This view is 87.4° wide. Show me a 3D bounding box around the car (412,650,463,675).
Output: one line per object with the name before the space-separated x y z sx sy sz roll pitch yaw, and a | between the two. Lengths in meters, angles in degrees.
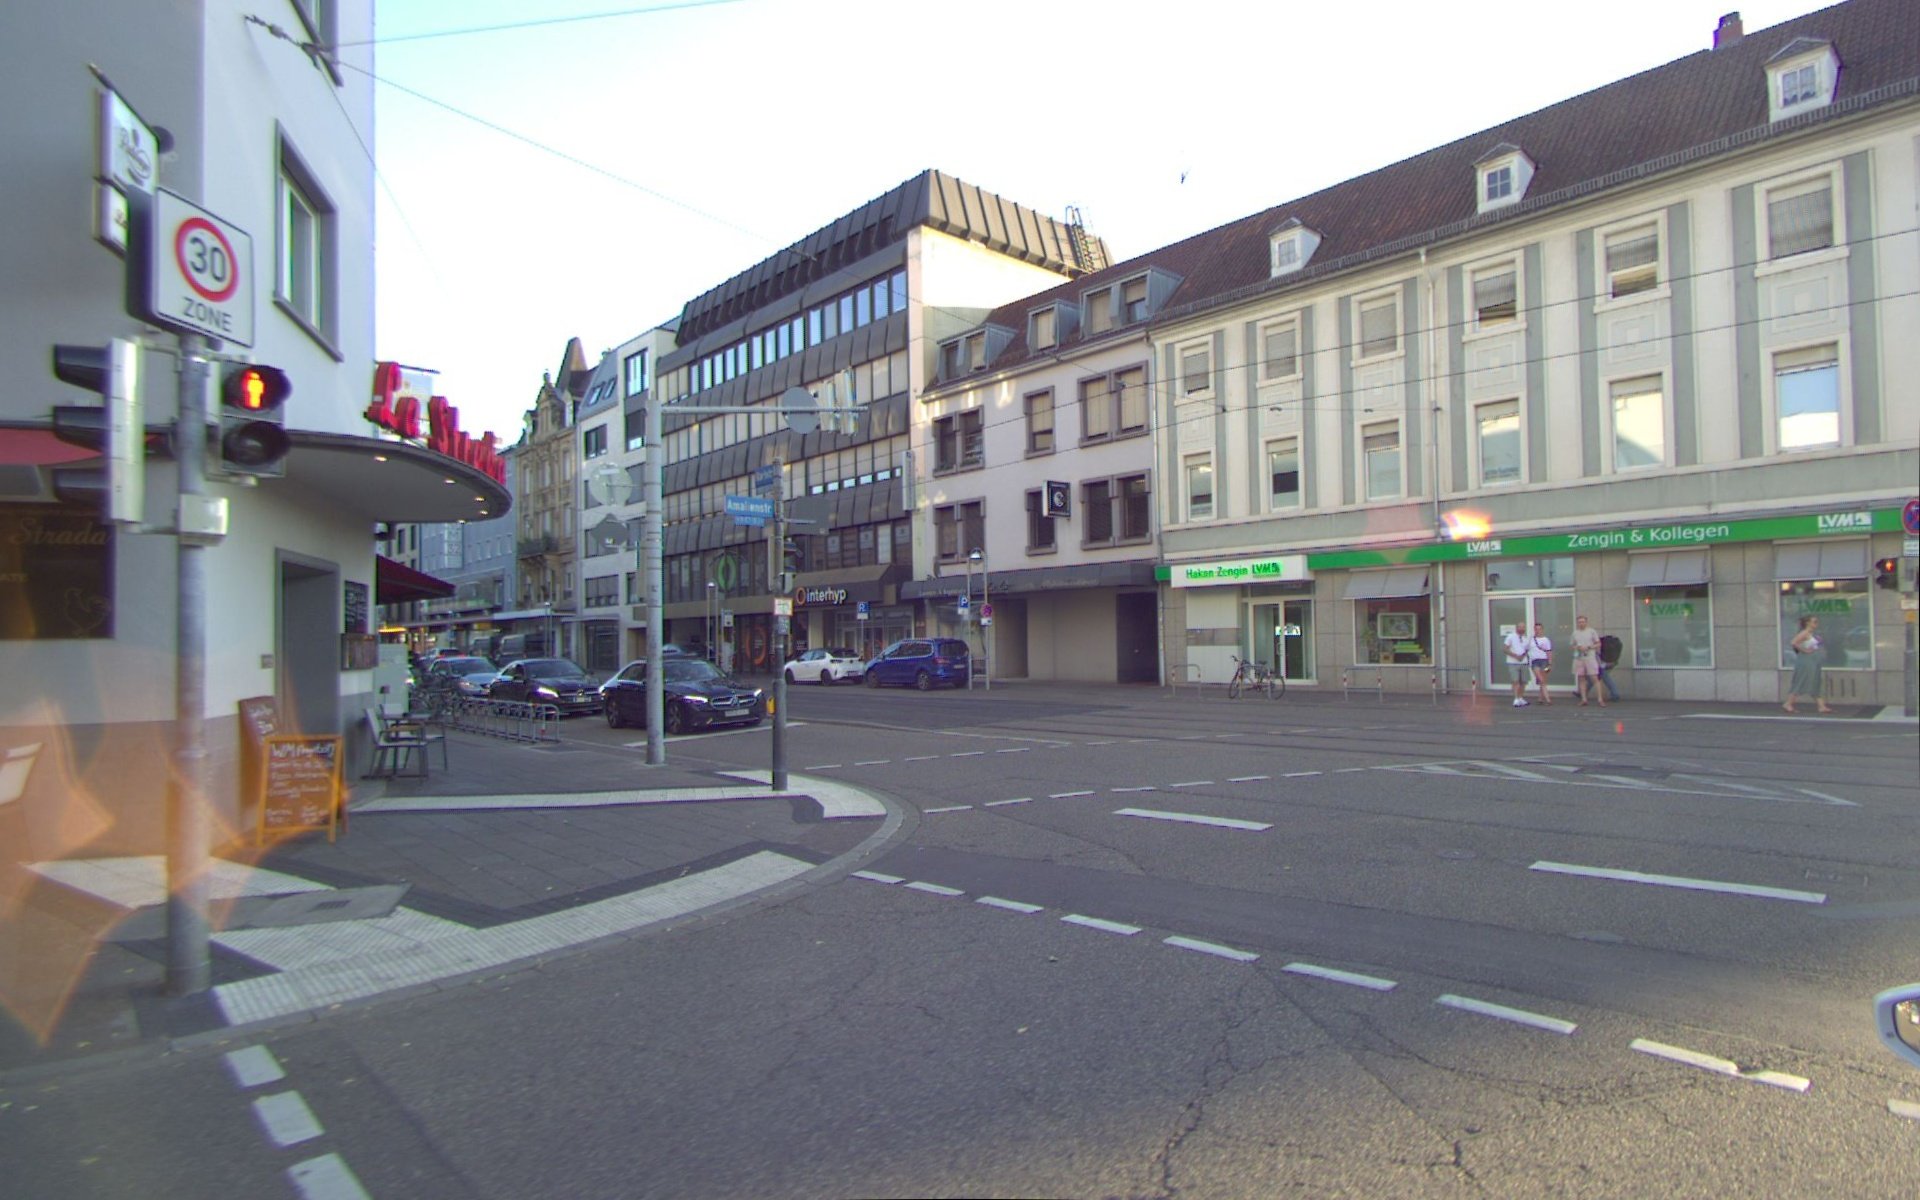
car | -34.484 4.075 66.191 1.936 1.565 4.490 2 -4 -42

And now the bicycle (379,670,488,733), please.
bicycle | -10.888 2.088 20.817 1.849 1.242 0.600 5 -6 -43

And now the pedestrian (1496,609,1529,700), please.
pedestrian | 12.079 1.194 21.955 0.488 1.954 0.574 -3 -2 36

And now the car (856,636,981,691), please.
car | -1.517 2.210 35.351 1.906 1.739 4.508 -2 -1 -42

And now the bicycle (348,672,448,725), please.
bicycle | -12.797 2.246 22.910 1.849 1.149 0.600 5 -6 -43

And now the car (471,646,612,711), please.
car | -10.748 1.957 25.622 1.906 1.404 4.508 -2 -1 -42

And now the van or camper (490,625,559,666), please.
van or camper | -28.580 2.996 65.793 2.180 2.458 6.056 -2 -1 -43

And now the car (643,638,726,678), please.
car | -13.338 2.790 48.504 1.975 1.757 4.614 -2 -1 -42

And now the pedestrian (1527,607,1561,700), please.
pedestrian | 12.604 1.151 21.691 0.521 1.954 0.638 -2 -2 35

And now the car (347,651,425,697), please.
car | -20.972 2.666 36.636 1.660 1.525 3.634 -2 -1 -43

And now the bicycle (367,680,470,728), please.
bicycle | -11.795 2.259 21.924 1.849 0.996 0.600 5 -6 -43

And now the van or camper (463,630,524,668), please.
van or camper | -32.769 3.458 70.432 2.181 2.458 5.447 -2 -1 -44

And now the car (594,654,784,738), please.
car | -5.627 1.867 20.485 1.906 1.404 4.508 -2 -1 -42

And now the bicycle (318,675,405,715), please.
bicycle | -15.560 2.470 26.137 1.849 0.996 0.457 5 -6 -43

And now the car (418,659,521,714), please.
car | -14.793 2.548 30.197 1.751 1.404 4.012 -2 -1 -42

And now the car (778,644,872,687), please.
car | -5.366 2.572 39.613 1.759 1.505 3.824 -2 -1 -43

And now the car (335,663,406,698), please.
car | -24.548 3.311 41.749 1.660 1.244 4.220 -2 -1 -43

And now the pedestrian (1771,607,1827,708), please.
pedestrian | 15.428 1.044 18.474 0.667 1.802 0.640 1 -3 -41

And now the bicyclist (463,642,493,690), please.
bicyclist | -16.119 2.193 33.618 0.691 1.586 0.789 1 -3 -44

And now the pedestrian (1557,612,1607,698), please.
pedestrian | 13.119 1.156 21.190 0.635 1.768 0.691 1 -3 -41

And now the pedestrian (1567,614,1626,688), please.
pedestrian | 13.813 1.102 21.802 0.694 1.568 0.860 1 -3 -41

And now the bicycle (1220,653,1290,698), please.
bicycle | 7.511 1.918 25.613 1.626 1.104 0.476 -4 -2 44
